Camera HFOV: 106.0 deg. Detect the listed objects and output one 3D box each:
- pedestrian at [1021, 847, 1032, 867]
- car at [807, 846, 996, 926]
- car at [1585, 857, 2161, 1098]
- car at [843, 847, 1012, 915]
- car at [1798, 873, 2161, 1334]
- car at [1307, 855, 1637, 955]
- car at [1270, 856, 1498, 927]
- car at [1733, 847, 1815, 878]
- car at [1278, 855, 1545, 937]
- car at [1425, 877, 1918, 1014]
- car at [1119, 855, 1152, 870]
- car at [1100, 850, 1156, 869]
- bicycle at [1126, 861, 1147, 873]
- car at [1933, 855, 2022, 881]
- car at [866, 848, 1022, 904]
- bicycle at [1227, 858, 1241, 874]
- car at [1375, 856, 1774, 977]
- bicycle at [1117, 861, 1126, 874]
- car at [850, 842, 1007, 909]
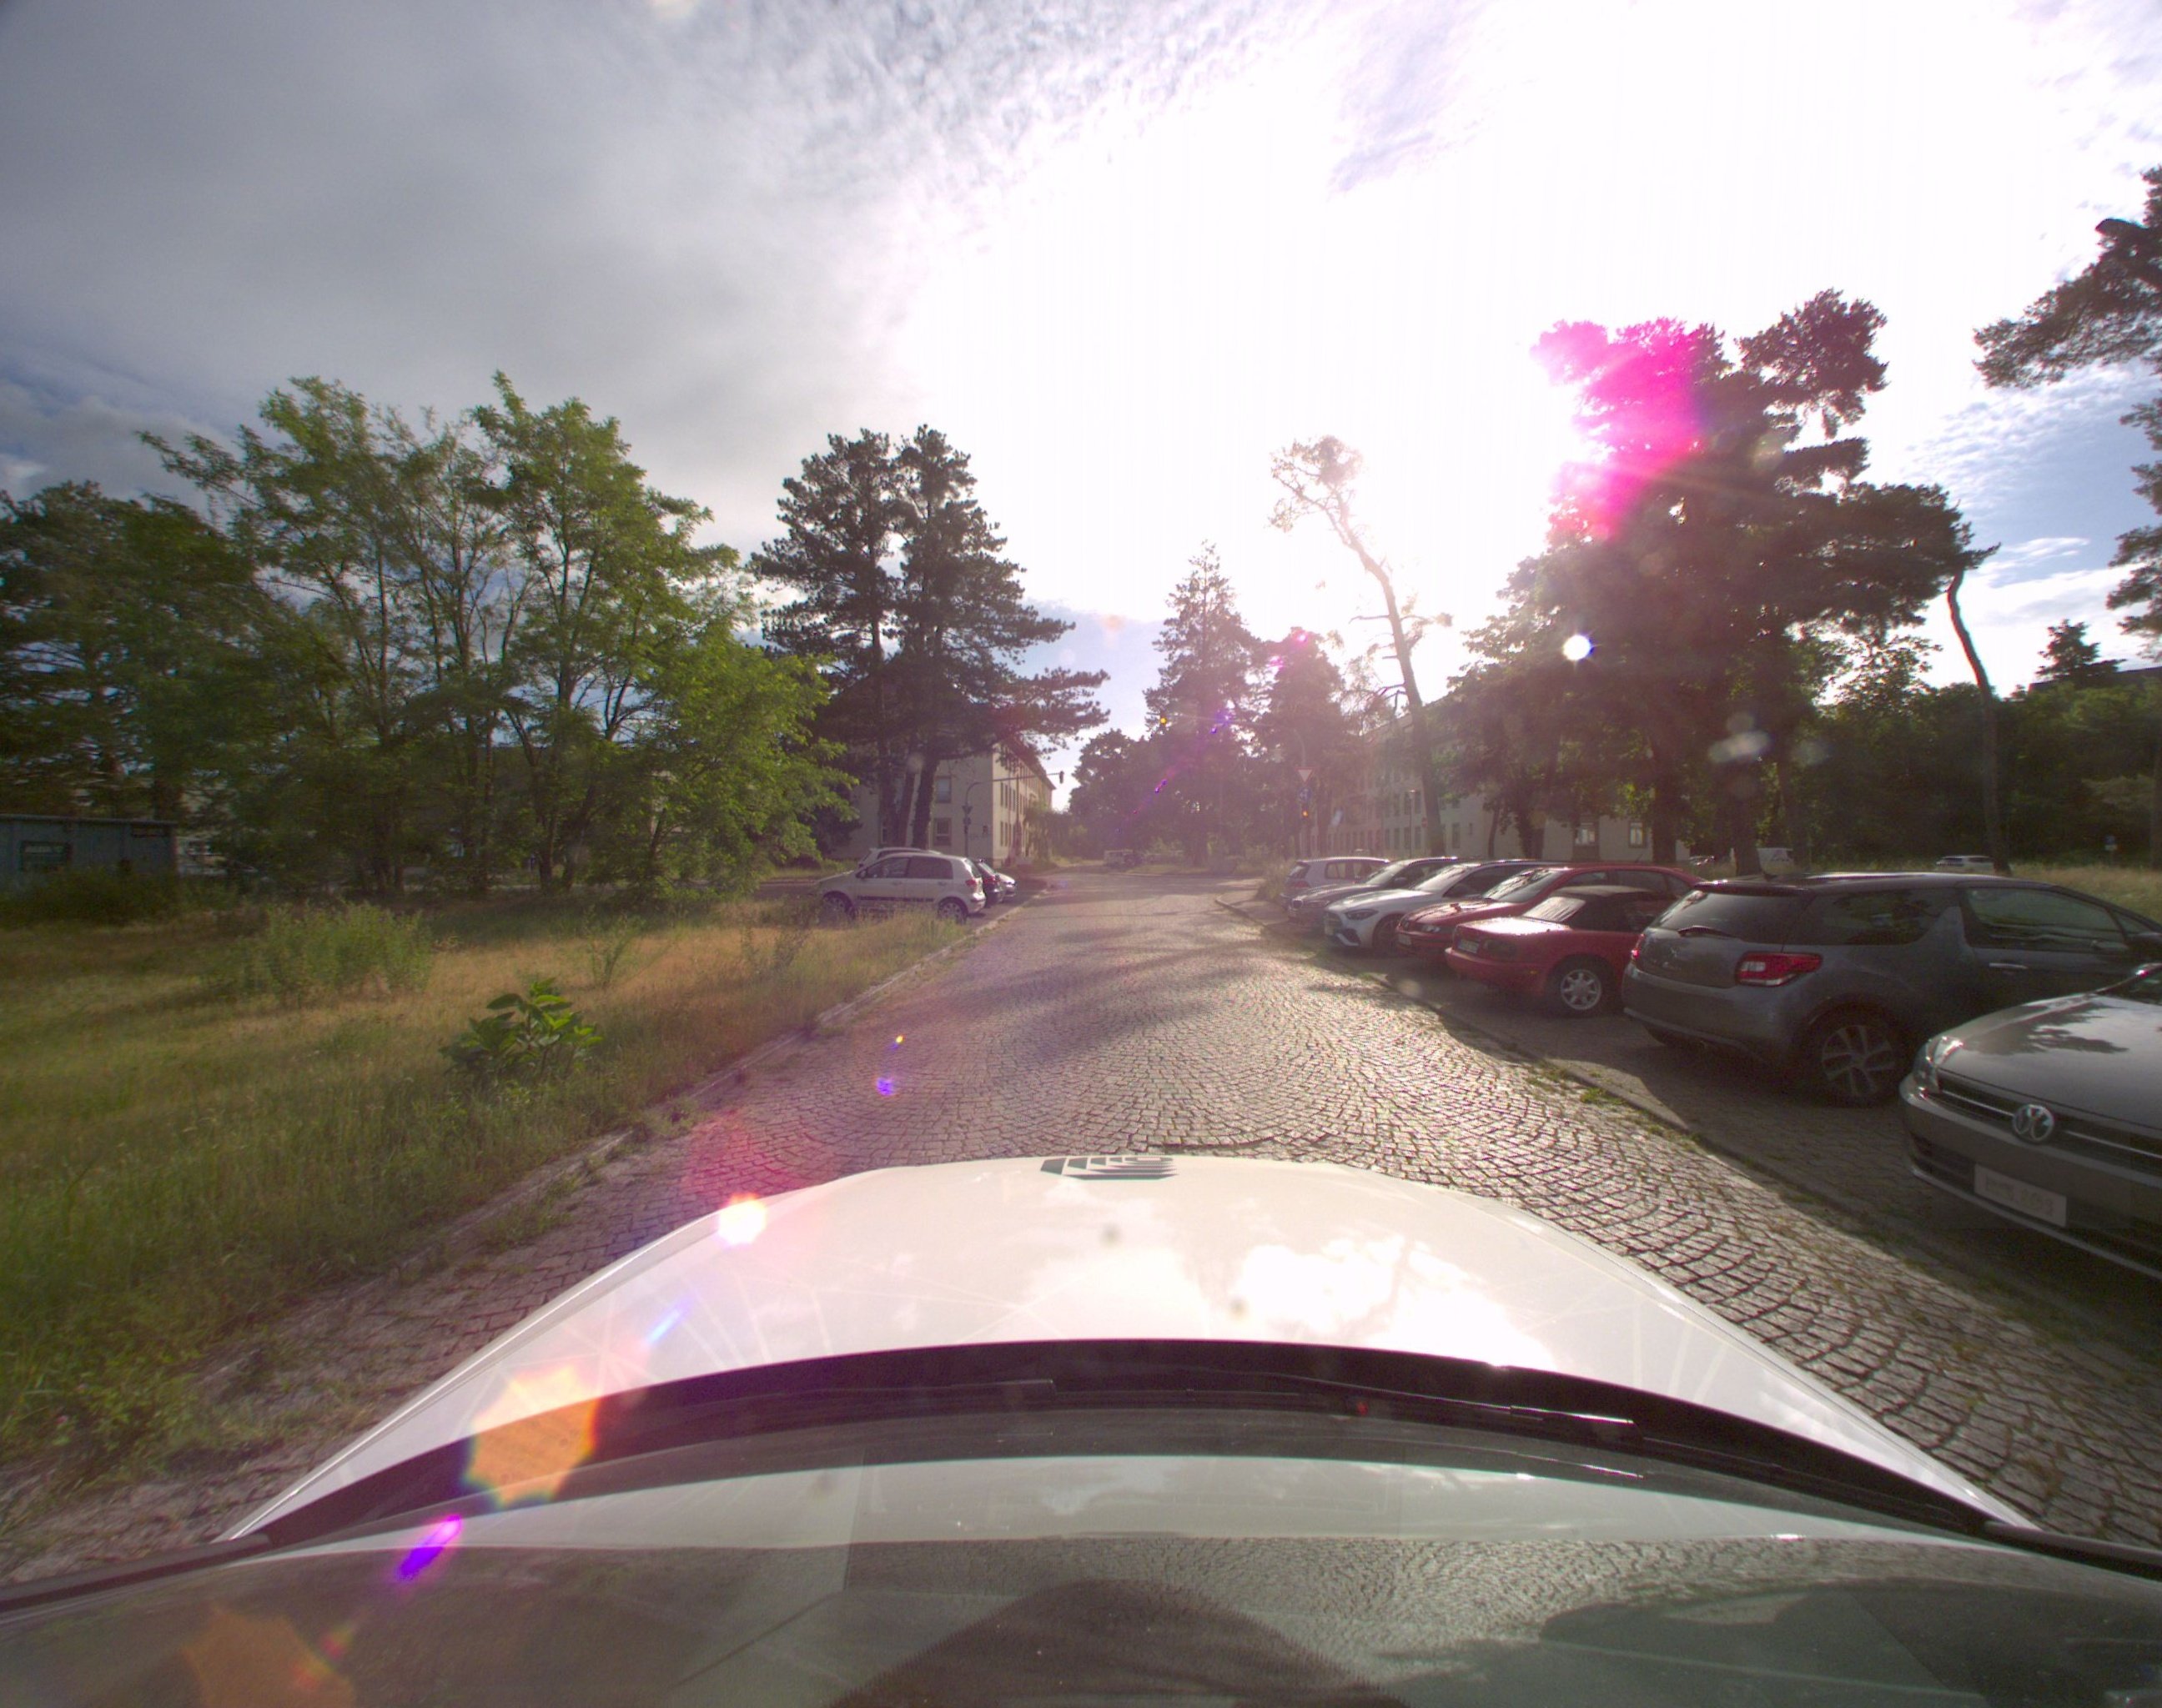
[{"bbox_3d":[-5.491,0.317,82.382,0.982,1.963,0.933,0,-1,1],"label":"pedestrian"},{"bbox_3d":[-3.849,0.688,17.983,3.671,1.473,1.849,3,-1,0],"label":"car"},{"bbox_3d":[6.217,0.780,5.967,3.936,1.495,1.773,0,-1,2],"label":"car"},{"bbox_3d":[-3.797,0.659,20.640,3.815,1.429,1.859,3,-1,0],"label":"car"},{"bbox_3d":[5.483,0.812,3.057,3.936,1.467,1.831,0,-1,2],"label":"car"},{"bbox_3d":[6.169,0.784,13.260,4.490,1.473,1.850,0,-1,1],"label":"car"},{"bbox_3d":[6.804,0.819,18.653,4.529,1.505,1.932,0,-1,-1],"label":"car"},{"bbox_3d":[60.036,0.740,70.663,5.137,2.536,2.266,0,-1,3],"label":"car"},{"bbox_3d":[6.368,0.785,16.036,4.496,1.473,1.893,0,-1,-3],"label":"car"},{"bbox_3d":[5.964,0.899,8.612,3.936,1.261,1.727,0,-1,2],"label":"car"},{"bbox_3d":[5.515,0.893,82.170,3.033,1.465,1.713,1,-1,-11],"label":"car"},{"bbox_3d":[4.964,0.628,85.754,5.505,1.916,2.245,1,-1,-12],"label":"car"},{"bbox_3d":[4.790,1.130,70.826,1.787,0.999,0.644,0,0,0],"label":"bicycle"},{"bbox_3d":[59.997,0.957,54.544,3.919,1.679,1.856,0,-1,-1],"label":"car"},{"bbox_3d":[-4.266,0.662,25.889,4.573,1.455,1.903,3,1,-1],"label":"car"},{"bbox_3d":[10.454,0.820,55.511,0.561,0.999,1.750,0,1,-2],"label":"bicycle"},{"bbox_3d":[6.432,0.789,10.982,4.325,1.473,1.740,0,-1,1],"label":"car"},{"bbox_3d":[3.278,1.096,66.244,0.725,0.999,1.799,0,1,2],"label":"bicycle"},{"bbox_3d":[-4.258,0.605,23.346,4.112,1.600,1.857,3,-1,-3],"label":"car"}]
